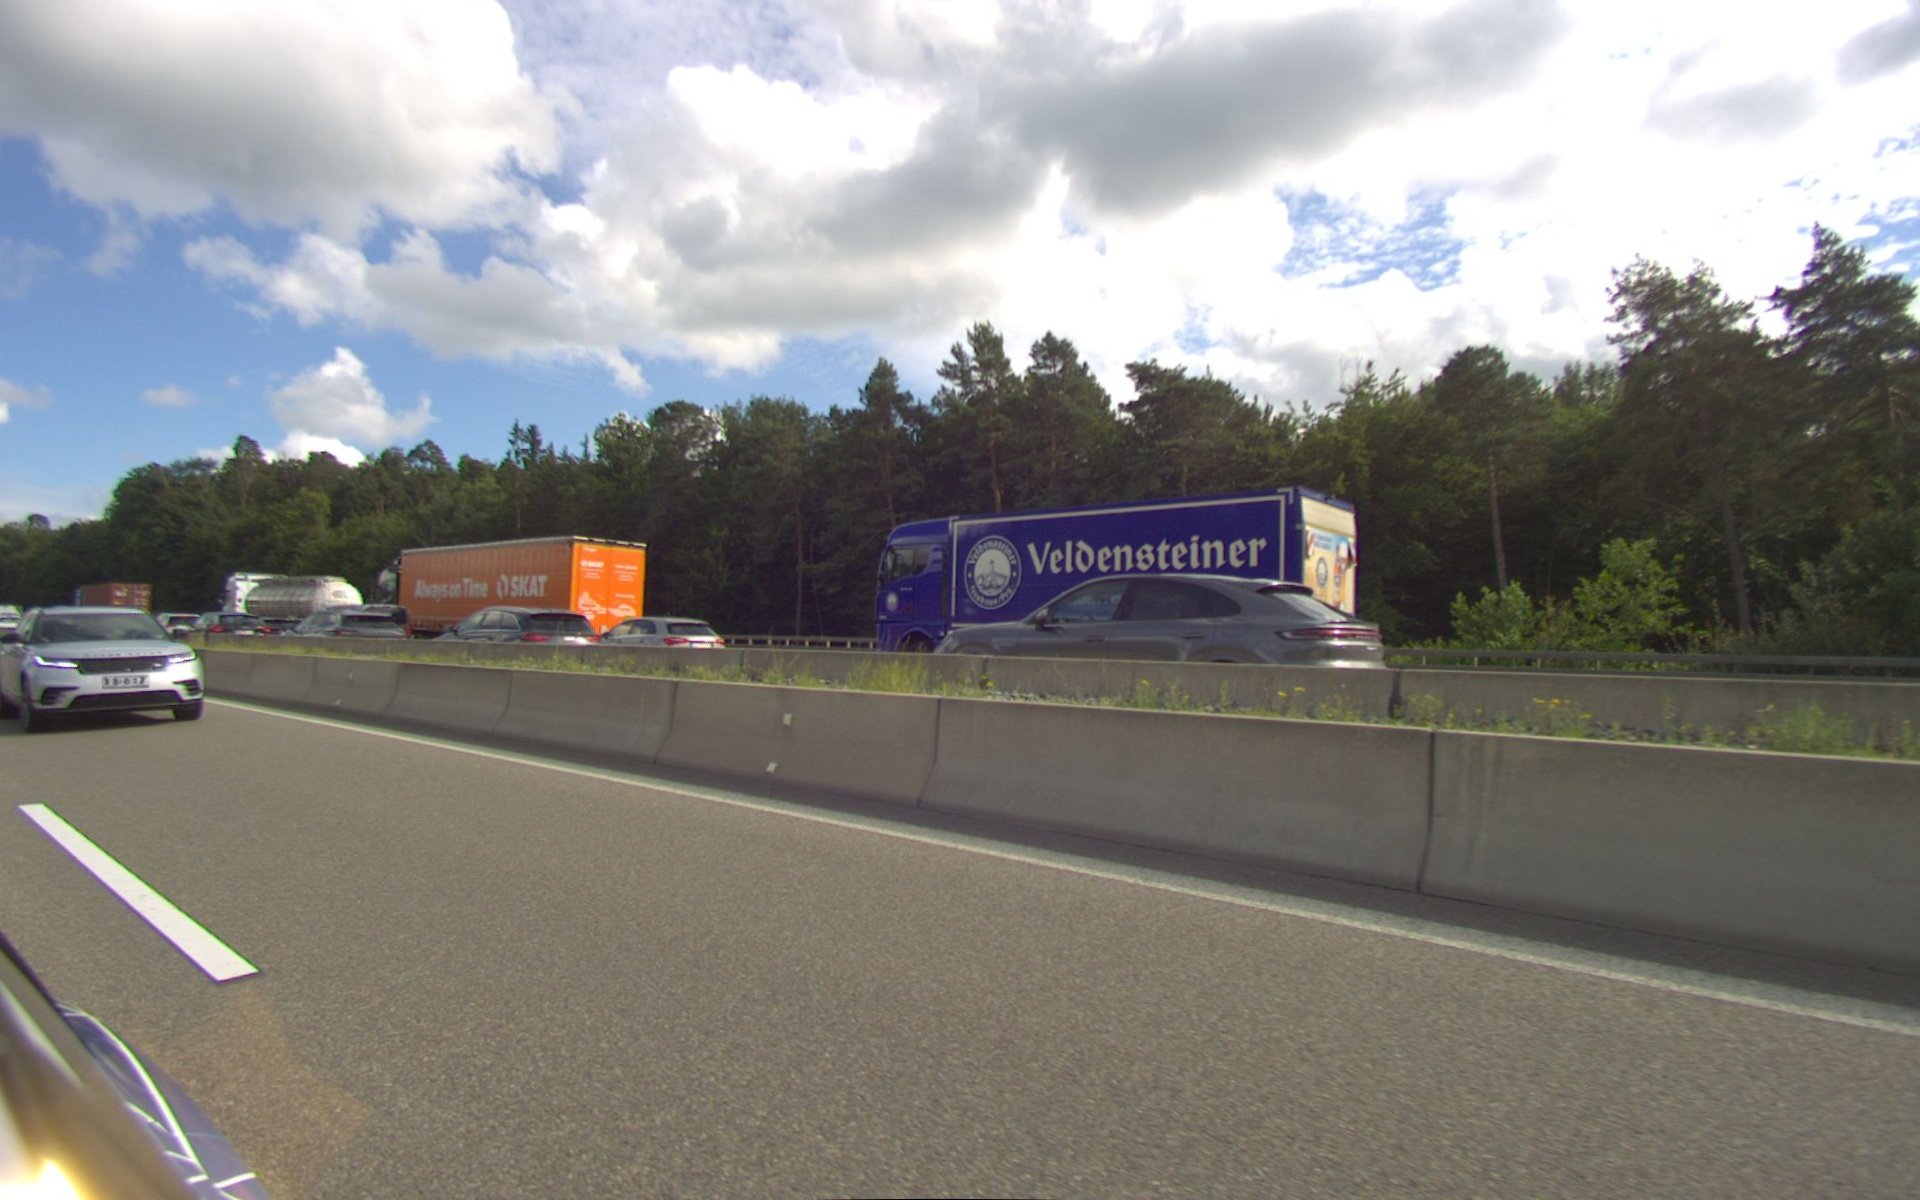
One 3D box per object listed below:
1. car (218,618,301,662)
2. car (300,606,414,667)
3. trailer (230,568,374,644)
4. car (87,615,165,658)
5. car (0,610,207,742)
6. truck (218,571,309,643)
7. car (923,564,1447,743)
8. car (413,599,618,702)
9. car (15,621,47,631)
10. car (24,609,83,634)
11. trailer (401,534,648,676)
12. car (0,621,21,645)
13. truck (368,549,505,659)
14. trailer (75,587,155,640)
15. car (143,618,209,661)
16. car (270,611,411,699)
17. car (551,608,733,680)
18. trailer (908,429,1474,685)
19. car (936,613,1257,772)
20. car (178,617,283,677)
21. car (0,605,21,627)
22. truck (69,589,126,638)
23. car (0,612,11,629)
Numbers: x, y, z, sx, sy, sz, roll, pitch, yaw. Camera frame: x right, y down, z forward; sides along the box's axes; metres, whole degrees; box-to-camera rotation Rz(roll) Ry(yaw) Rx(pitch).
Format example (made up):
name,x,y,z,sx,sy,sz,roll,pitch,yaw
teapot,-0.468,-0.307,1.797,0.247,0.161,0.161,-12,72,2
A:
name,x,y,z,sx,sy,sz,roll,pitch,yaw
car,-30.389,1.707,43.846,4.900,1.777,1.798,-1,-1,40
car,-21.330,1.220,35.721,4.988,1.974,1.973,-1,0,41
trailer,-34.004,0.317,51.994,12.225,3.524,2.919,-1,0,41
car,-35.971,1.537,43.615,4.900,1.759,1.798,-1,-1,41
car,-12.968,1.016,14.993,5.102,1.619,1.880,-2,-1,41
truck,-38.415,0.426,55.770,5.106,3.775,2.926,-1,-1,41
car,2.039,0.458,10.221,4.900,1.398,1.813,-1,-1,40
car,-8.656,0.903,19.525,4.627,1.777,1.798,-1,-1,40
car,-78.648,2.220,85.704,3.997,0.818,1.555,-1,-1,41
car,-45.831,1.093,51.127,4.352,1.182,1.579,-1,-1,40
trailer,-15.990,0.187,36.214,13.170,4.352,2.612,-1,0,41
car,-63.742,2.167,67.227,3.996,1.573,1.497,-1,-1,39
truck,-21.109,0.204,40.656,6.714,4.102,2.587,-1,-1,41
trailer,-68.207,1.029,81.551,12.884,4.013,2.919,-1,0,41
car,-40.791,2.041,52.616,4.475,2.122,1.799,-1,-1,40
car,-15.819,1.295,25.739,4.681,2.029,1.725,-1,0,41
car,-7.446,0.970,23.425,4.900,1.493,1.706,-1,-1,40
trailer,3.708,-0.537,19.022,10.214,3.686,2.858,-1,-1,41
car,1.965,1.270,15.545,4.633,2.076,1.813,-1,-1,40
car,-24.765,1.539,34.284,4.900,1.896,1.798,-1,-1,40
car,-91.269,1.532,96.607,3.998,2.029,1.973,-1,0,41
truck,-73.391,1.177,86.076,5.149,4.016,2.925,-1,-1,41
car,-118.148,2.533,124.297,3.997,2.029,1.973,-1,-1,41
